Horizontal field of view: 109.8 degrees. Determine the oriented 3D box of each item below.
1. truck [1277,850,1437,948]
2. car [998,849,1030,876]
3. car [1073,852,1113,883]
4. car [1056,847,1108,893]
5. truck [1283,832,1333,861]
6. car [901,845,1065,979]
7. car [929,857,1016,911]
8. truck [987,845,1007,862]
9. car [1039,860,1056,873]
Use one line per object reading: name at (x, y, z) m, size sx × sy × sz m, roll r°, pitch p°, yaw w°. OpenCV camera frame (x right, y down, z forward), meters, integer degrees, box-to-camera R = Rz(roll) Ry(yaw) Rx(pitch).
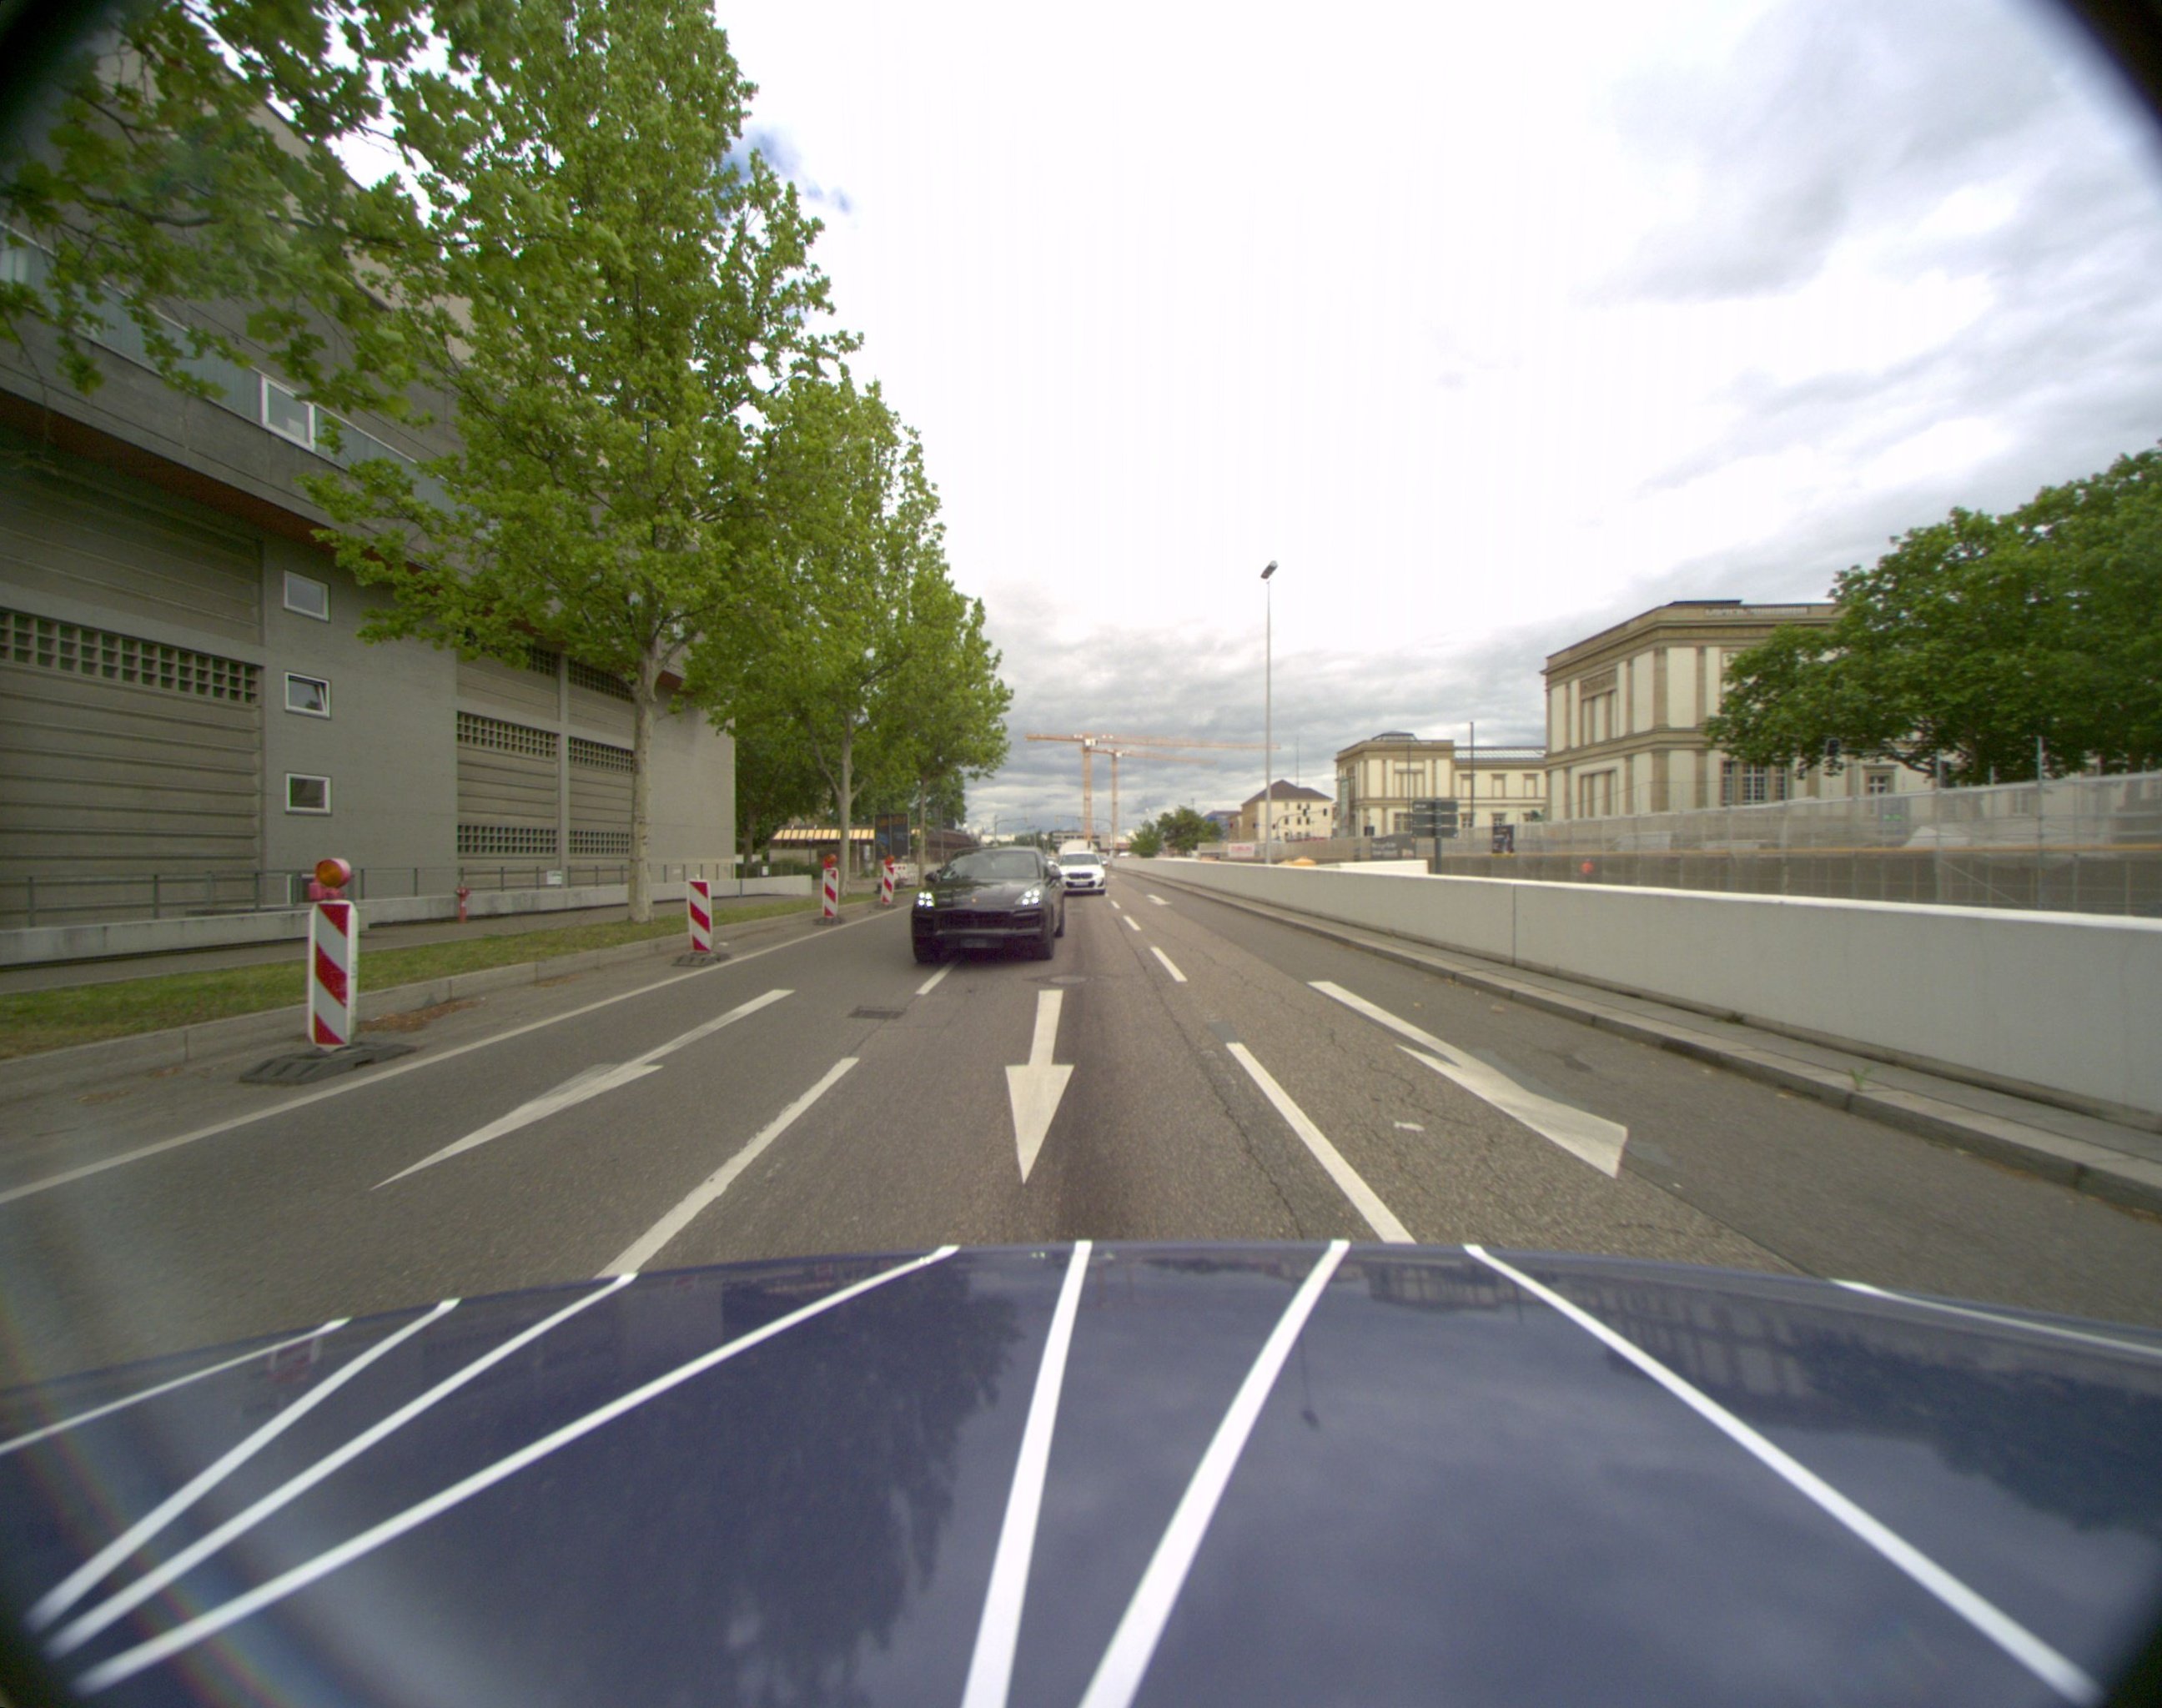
truck at (8.484, 1.317, 24.299) m, size 2.609 × 2.695 × 6.675 m, roll 0°, pitch -1°, yaw -1°
car at (-4.560, 0.561, 52.217) m, size 1.812 × 1.815 × 3.773 m, roll 0°, pitch 0°, yaw 0°
car at (0.656, 0.670, 38.239) m, size 1.852 × 1.412 × 4.106 m, roll -2°, pitch 0°, yaw 2°
car at (0.038, 0.627, 28.519) m, size 1.812 × 1.595 × 3.714 m, roll -1°, pitch -2°, yaw 0°
truck at (34.105, -0.976, 115.056) m, size 2.924 × 4.058 × 16.617 m, roll 1°, pitch -1°, yaw 2°
car at (-1.325, 0.738, 12.248) m, size 1.956 × 1.638 × 4.607 m, roll -2°, pitch 1°, yaw 0°
car at (-3.196, 0.828, 23.218) m, size 1.738 × 1.427 × 4.382 m, roll 1°, pitch 0°, yaw 3°
truck at (-19.105, -0.049, 173.166) m, size 2.913 × 3.653 × 9.013 m, roll 0°, pitch 0°, yaw -17°
car at (-4.235, 1.548, 95.755) m, size 1.999 × 1.632 × 3.999 m, roll 0°, pitch 0°, yaw 0°
